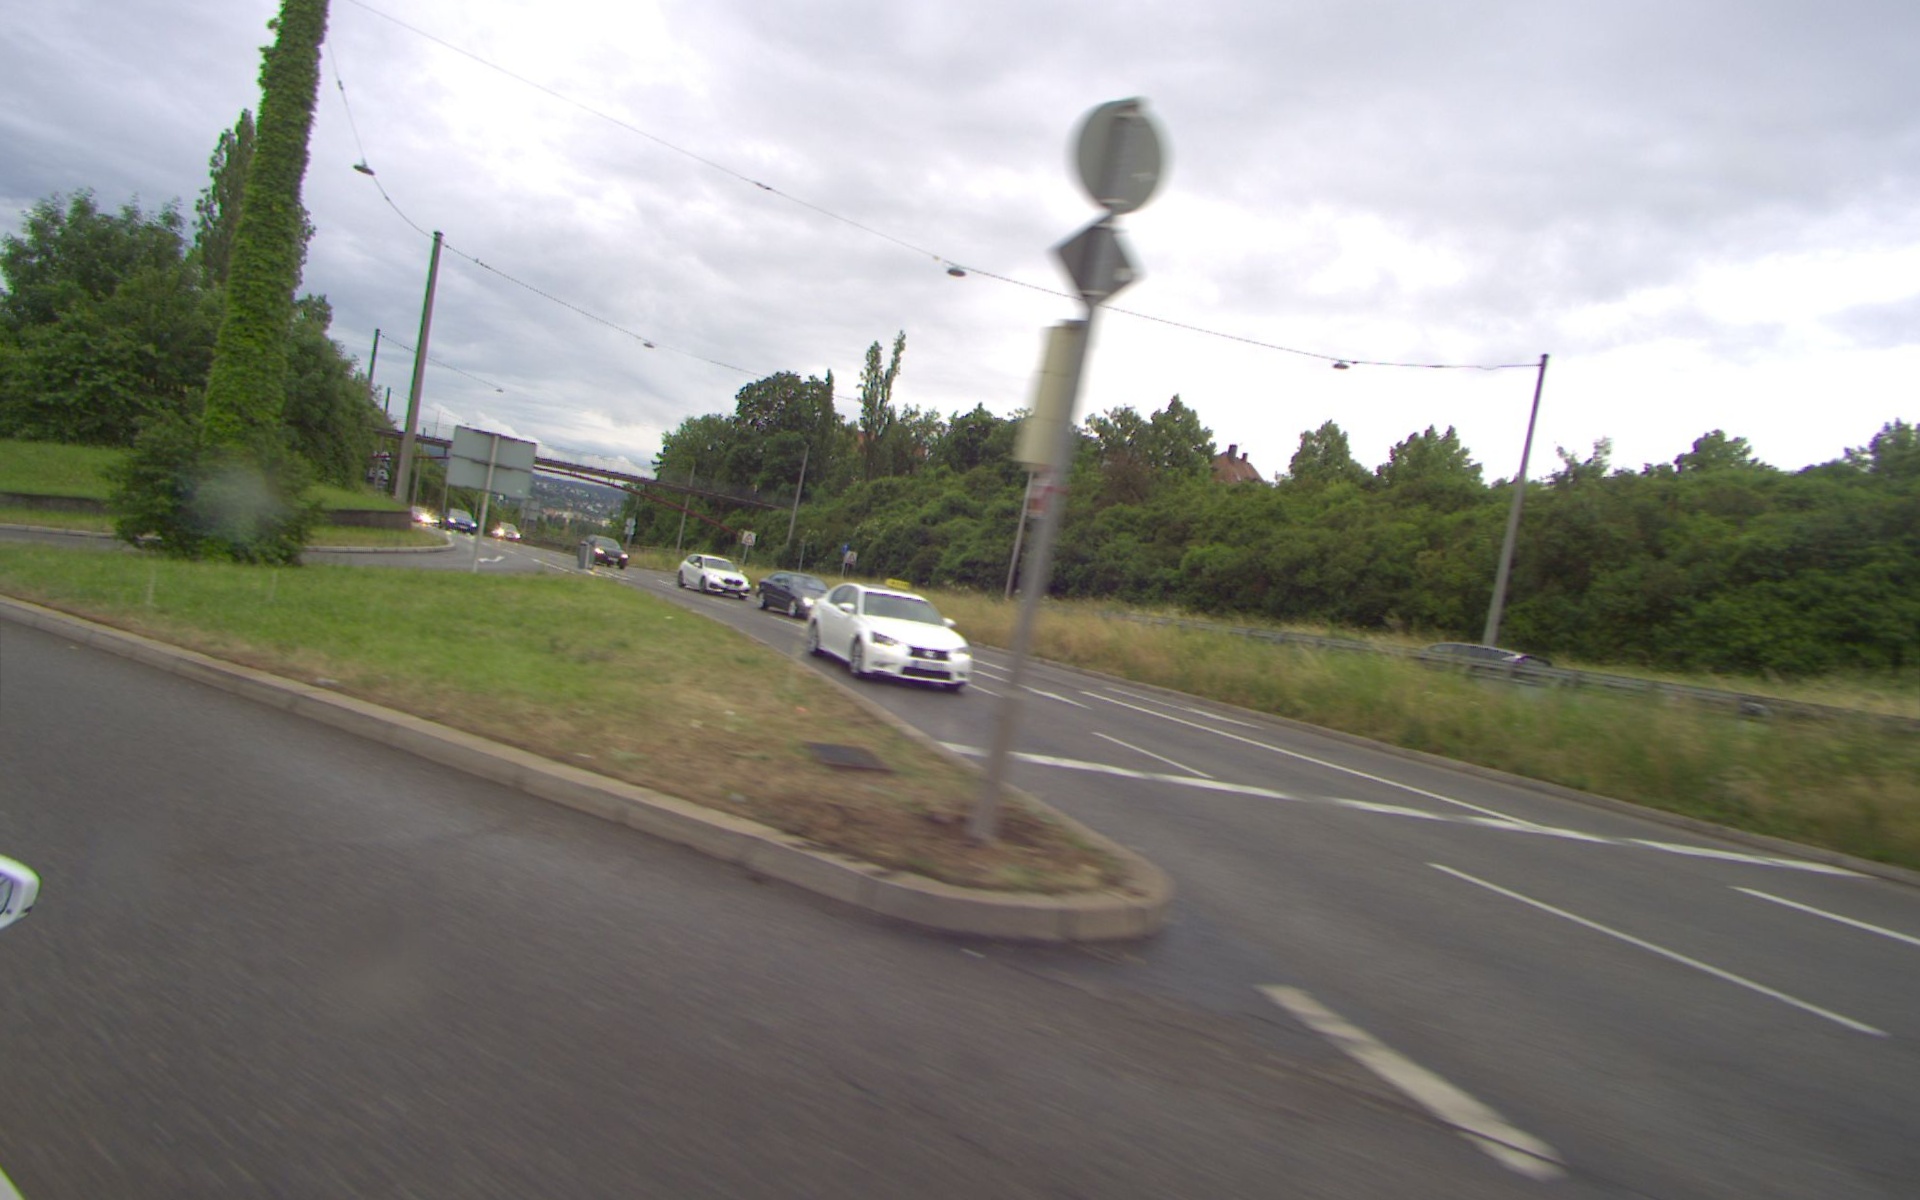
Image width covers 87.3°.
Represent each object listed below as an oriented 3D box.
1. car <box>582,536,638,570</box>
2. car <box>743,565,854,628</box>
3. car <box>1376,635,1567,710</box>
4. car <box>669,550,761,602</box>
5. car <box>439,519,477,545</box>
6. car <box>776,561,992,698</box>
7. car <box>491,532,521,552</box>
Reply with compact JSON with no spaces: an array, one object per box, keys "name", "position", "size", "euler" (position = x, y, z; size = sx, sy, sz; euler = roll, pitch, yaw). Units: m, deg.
[{"name":"car","position":[-18.022,-2.442,51.709],"size":[1.660,1.431,3.882],"euler":[8,-1,-34]},{"name":"car","position":[-5.282,-0.154,32.403],"size":[1.825,1.368,4.512],"euler":[8,2,-32]},{"name":"car","position":[13.588,1.890,26.990],"size":[1.764,1.365,4.198],"euler":[10,-2,-27]},{"name":"car","position":[-9.662,-0.961,39.402],"size":[2.056,1.446,4.230],"euler":[8,1,-34]},{"name":"car","position":[-33.426,-4.543,66.909],"size":[1.660,1.431,3.882],"euler":[8,-1,-34]},{"name":"car","position":[-1.524,0.384,17.422],"size":[2.049,1.665,4.960],"euler":[8,0,-23]},{"name":"car","position":[-39.460,-5.078,87.382],"size":[1.660,1.431,3.882],"euler":[8,-1,-34]}]
